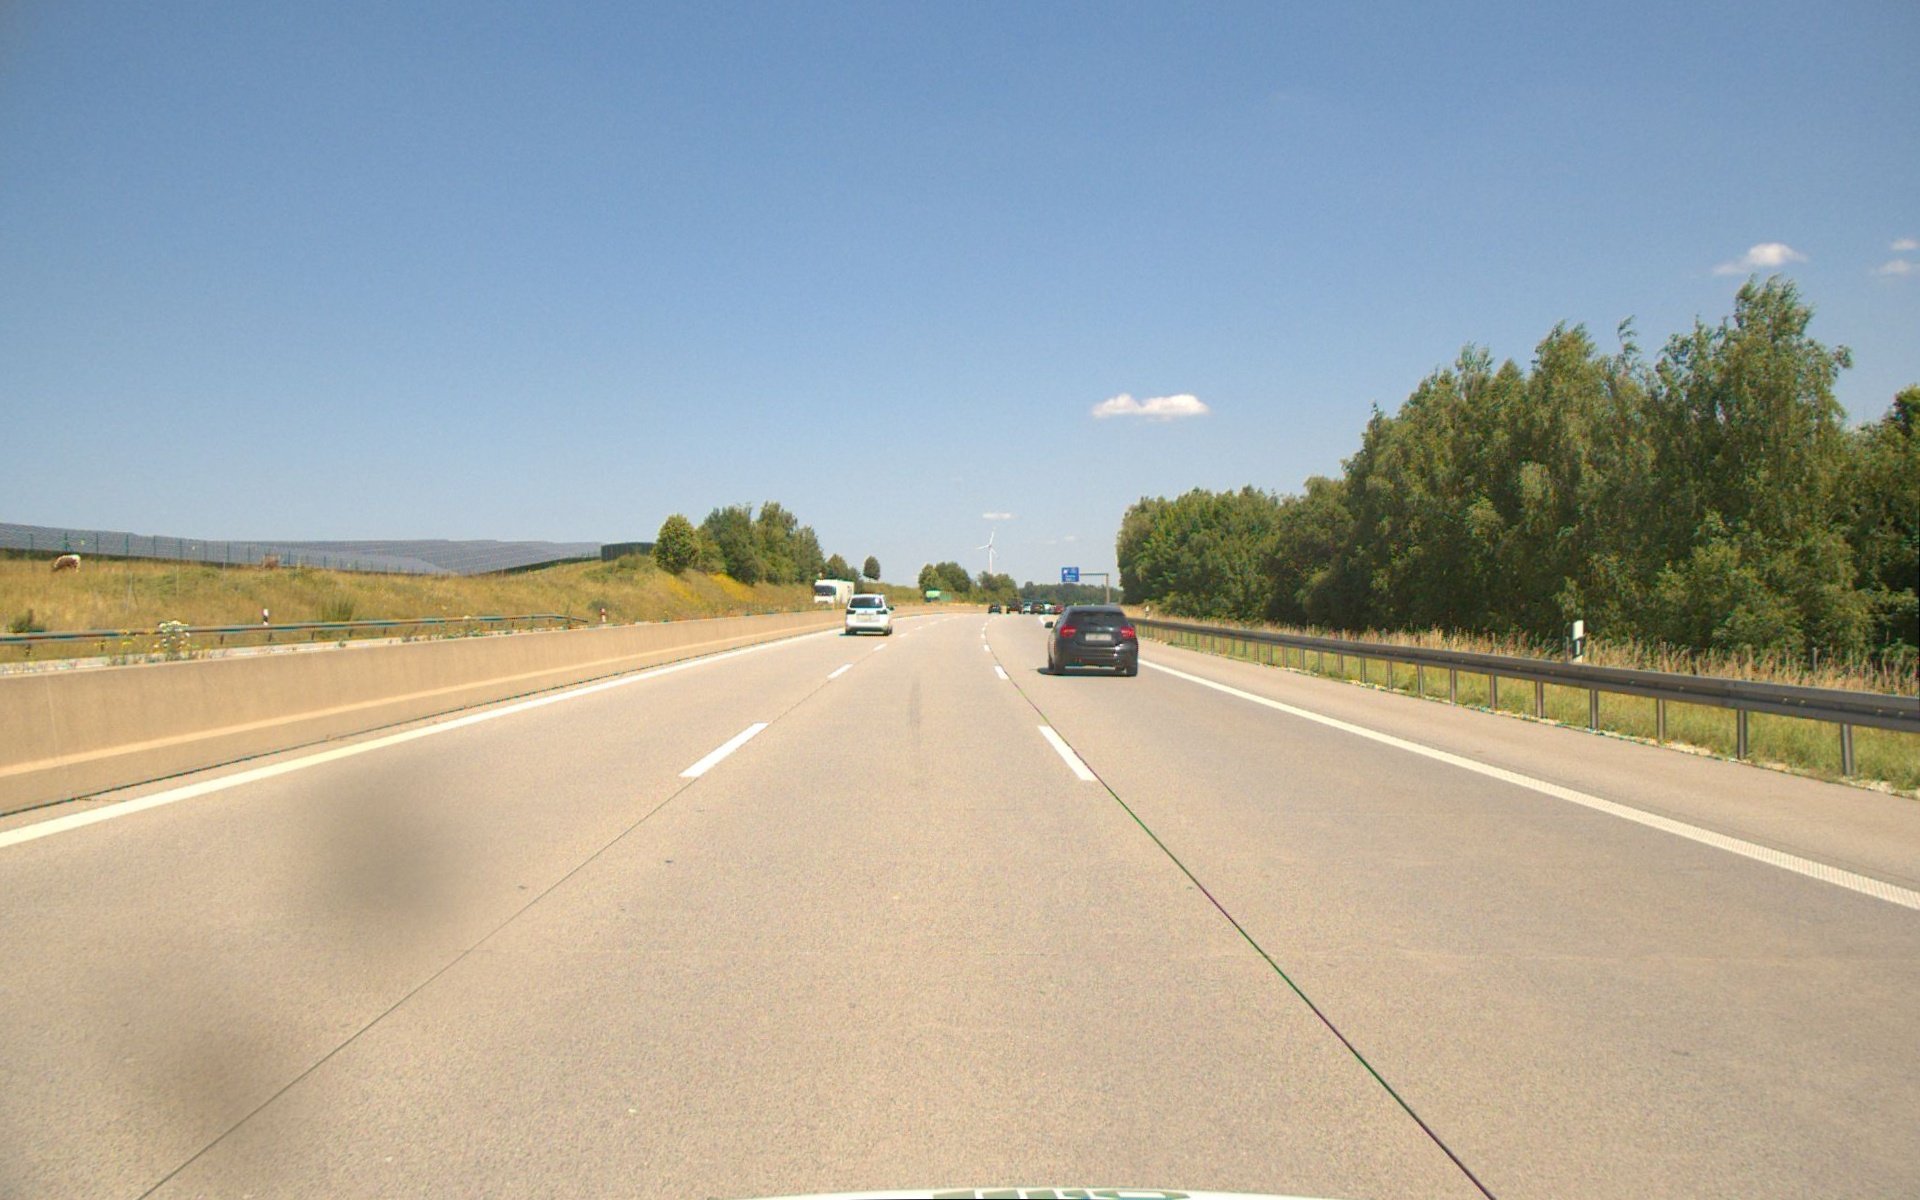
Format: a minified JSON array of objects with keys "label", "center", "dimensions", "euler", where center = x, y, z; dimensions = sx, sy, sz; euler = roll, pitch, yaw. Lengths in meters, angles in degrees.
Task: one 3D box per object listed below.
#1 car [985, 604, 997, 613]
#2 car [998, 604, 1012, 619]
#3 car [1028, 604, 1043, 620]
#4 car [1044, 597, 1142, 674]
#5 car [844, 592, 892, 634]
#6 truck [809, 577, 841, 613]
[{"label":"car","center":[4.534,1.310,245.051],"dimensions":[1.622,1.217,3.959],"euler":[3,0,-1]},{"label":"car","center":[6.004,1.509,221.450],"dimensions":[1.789,1.971,3.810],"euler":[0,0,1]},{"label":"car","center":[9.317,1.487,204.347],"dimensions":[1.789,1.940,4.002],"euler":[0,0,3]},{"label":"car","center":[2.814,0.713,35.698],"dimensions":[1.871,1.518,4.192],"euler":[1,0,1]},{"label":"car","center":[-3.883,0.553,70.592],"dimensions":[1.808,1.738,6.034],"euler":[0,0,-1]},{"label":"truck","center":[-15.818,-0.587,194.819],"dimensions":[2.928,4.131,6.871],"euler":[0,0,2]}]
